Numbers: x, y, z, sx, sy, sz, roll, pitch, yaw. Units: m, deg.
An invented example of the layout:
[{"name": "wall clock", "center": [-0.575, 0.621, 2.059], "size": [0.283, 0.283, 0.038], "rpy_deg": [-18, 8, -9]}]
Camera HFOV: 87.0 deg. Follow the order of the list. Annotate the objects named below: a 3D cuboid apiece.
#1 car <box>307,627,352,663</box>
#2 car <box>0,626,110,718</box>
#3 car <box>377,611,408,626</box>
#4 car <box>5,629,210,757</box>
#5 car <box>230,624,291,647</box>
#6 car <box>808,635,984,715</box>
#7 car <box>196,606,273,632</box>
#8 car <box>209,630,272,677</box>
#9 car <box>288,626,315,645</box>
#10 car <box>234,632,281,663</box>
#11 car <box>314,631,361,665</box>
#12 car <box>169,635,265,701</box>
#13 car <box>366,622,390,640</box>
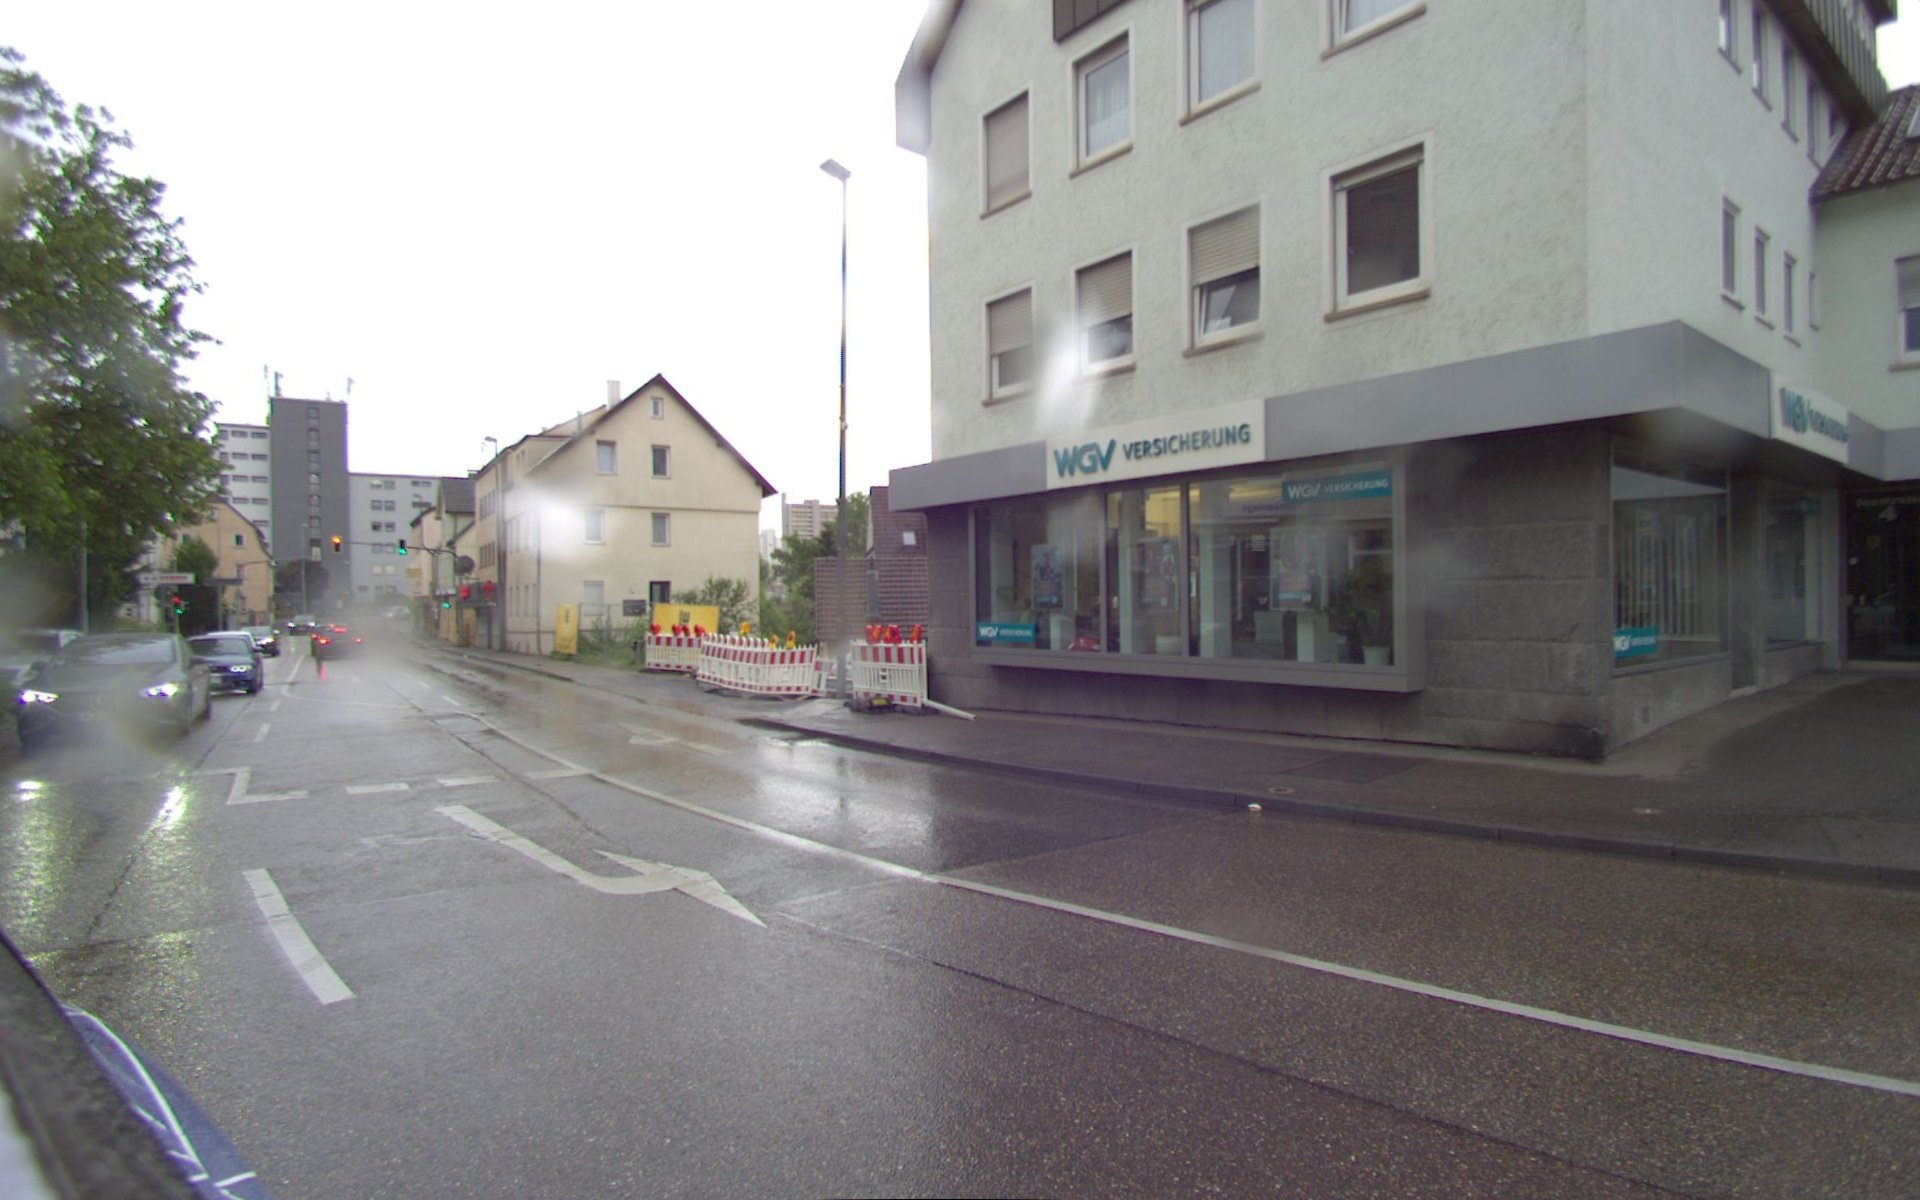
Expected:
[{"name": "car", "center": [-32.001, 2.254, 51.288], "size": [1.791, 1.657, 4.287], "rpy_deg": [-1, -1, -34]}, {"name": "car", "center": [-20.071, 1.491, 21.791], "size": [1.904, 1.794, 4.748], "rpy_deg": [0, -2, -30]}, {"name": "car", "center": [-62.950, 2.021, 112.246], "size": [1.592, 1.515, 3.722], "rpy_deg": [-2, 0, -5]}, {"name": "car", "center": [-12.645, 1.273, 15.277], "size": [1.791, 1.583, 4.287], "rpy_deg": [-1, -1, -33]}, {"name": "car", "center": [-48.475, 2.468, 70.181], "size": [1.662, 1.472, 4.003], "rpy_deg": [-1, -1, -4]}, {"name": "car", "center": [-1.335, 1.665, 21.896], "size": [3.456, 1.401, 1.653], "rpy_deg": [10, -10, -41]}, {"name": "car", "center": [-79.587, 2.051, 111.075], "size": [6.320, 2.539, 2.681], "rpy_deg": [-3, 0, -9]}, {"name": "car", "center": [-24.555, 1.780, 34.563], "size": [1.660, 1.432, 4.010], "rpy_deg": [-1, -1, -35]}, {"name": "car", "center": [-55.616, 2.968, 85.523], "size": [1.524, 1.545, 3.700], "rpy_deg": [-2, -1, -27]}, {"name": "car", "center": [-36.114, 2.429, 52.094], "size": [1.659, 1.472, 4.012], "rpy_deg": [-1, -1, -30]}, {"name": "car", "center": [-28.195, 2.152, 45.804], "size": [1.684, 1.394, 3.679], "rpy_deg": [-1, -1, -33]}, {"name": "car", "center": [-17.891, 1.571, 24.494], "size": [1.615, 1.443, 3.816], "rpy_deg": [1, -2, -33]}, {"name": "car", "center": [-52.915, 2.814, 92.055], "size": [1.790, 1.583, 4.289], "rpy_deg": [0, -2, -28]}]
